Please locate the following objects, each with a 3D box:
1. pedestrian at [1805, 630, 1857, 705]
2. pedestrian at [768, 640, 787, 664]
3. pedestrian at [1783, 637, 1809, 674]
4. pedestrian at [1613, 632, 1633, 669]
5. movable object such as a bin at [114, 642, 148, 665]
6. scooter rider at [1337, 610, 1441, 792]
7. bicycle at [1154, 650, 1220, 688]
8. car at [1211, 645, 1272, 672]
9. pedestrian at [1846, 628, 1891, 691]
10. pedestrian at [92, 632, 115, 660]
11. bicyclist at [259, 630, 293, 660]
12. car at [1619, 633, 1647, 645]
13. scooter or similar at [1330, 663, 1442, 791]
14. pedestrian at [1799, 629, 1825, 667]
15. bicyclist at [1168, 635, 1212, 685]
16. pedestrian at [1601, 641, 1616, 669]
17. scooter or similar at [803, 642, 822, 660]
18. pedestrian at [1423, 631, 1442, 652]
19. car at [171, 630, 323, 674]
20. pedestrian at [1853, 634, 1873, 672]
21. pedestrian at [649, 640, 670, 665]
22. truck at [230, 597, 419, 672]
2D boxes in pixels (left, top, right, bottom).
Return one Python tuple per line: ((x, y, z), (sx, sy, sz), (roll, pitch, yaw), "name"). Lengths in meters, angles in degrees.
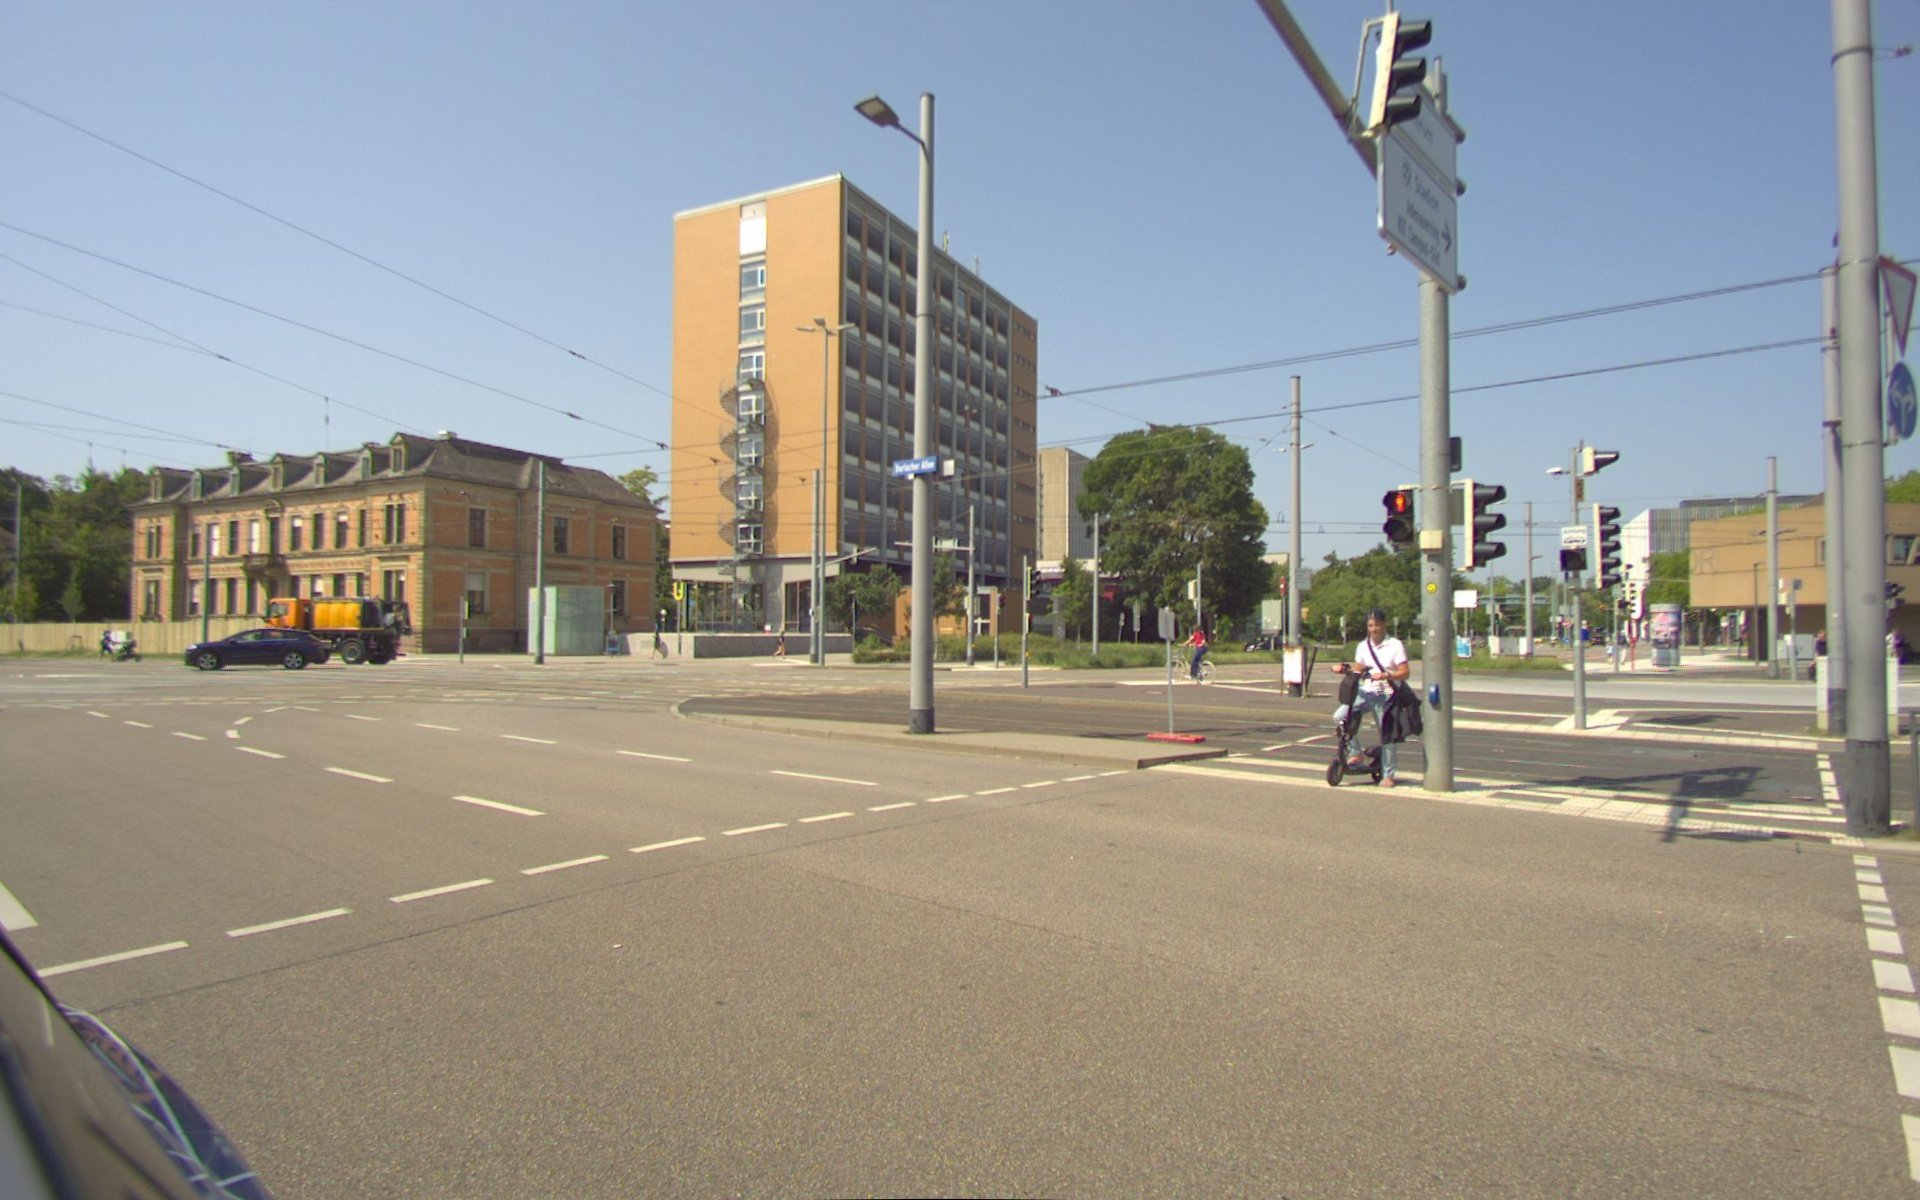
((21.540, 1.649, 25.036), (0.959, 1.793, 0.774), (0, -2, 42), "pedestrian")
((-10.804, 3.070, 59.983), (0.787, 1.405, 0.836), (-2, -3, 42), "pedestrian")
((38.057, 2.530, 46.075), (0.578, 1.689, 0.579), (-1, -3, -4), "pedestrian")
((32.973, 2.514, 50.365), (0.552, 1.830, 0.561), (0, -2, -5), "pedestrian")
((-41.137, 2.647, 50.228), (1.021, 1.093, 0.822), (-1, -3, -9), "movable object such as a bin")
((4.225, 0.955, 9.964), (0.777, 1.686, 0.764), (-1, -3, 36), "scooter rider")
((6.848, 2.068, 30.580), (1.913, 1.078, 0.606), (-2, -3, 44), "bicycle")
((20.414, 4.224, 73.359), (3.932, 1.807, 2.006), (1, -4, -31), "car")
((26.356, 1.711, 29.362), (0.959, 1.793, 0.774), (0, -2, 42), "pedestrian")
((-42.097, 2.242, 49.755), (0.804, 1.362, 0.720), (2, -3, -43), "pedestrian")
((-29.016, 1.913, 42.961), (1.087, 1.276, 0.859), (1, -3, -29), "bicyclist")
((90.731, 5.284, 136.352), (4.583, 1.665, 1.906), (2, -3, -40), "car")
((4.229, 1.229, 10.005), (0.708, 1.157, 1.325), (-2, -6, 37), "scooter or similar")
((38.806, 2.195, 46.110), (0.578, 1.689, 0.579), (-1, -3, -4), "pedestrian")
((6.940, 1.788, 30.505), (0.980, 1.470, 0.865), (-2, -3, 44), "bicyclist")
((32.345, 2.725, 50.493), (0.455, 1.385, 0.350), (0, -2, -5), "pedestrian")
((-9.551, 3.292, 65.704), (1.126, 1.166, 0.444), (2, -3, -36), "scooter or similar")
((39.617, 3.483, 84.882), (1.098, 1.799, 0.971), (2, -3, -34), "pedestrian")
((-27.805, 2.010, 39.674), (4.618, 1.653, 2.006), (1, -3, -28), "car")
((39.924, 2.346, 44.752), (0.571, 1.658, 0.505), (-4, -5, 42), "pedestrian")
((-17.241, 3.015, 58.094), (0.787, 1.405, 0.836), (-2, -3, 42), "pedestrian")
((-29.893, 1.648, 47.844), (7.091, 3.254, 3.041), (-1, -3, 1), "truck")
